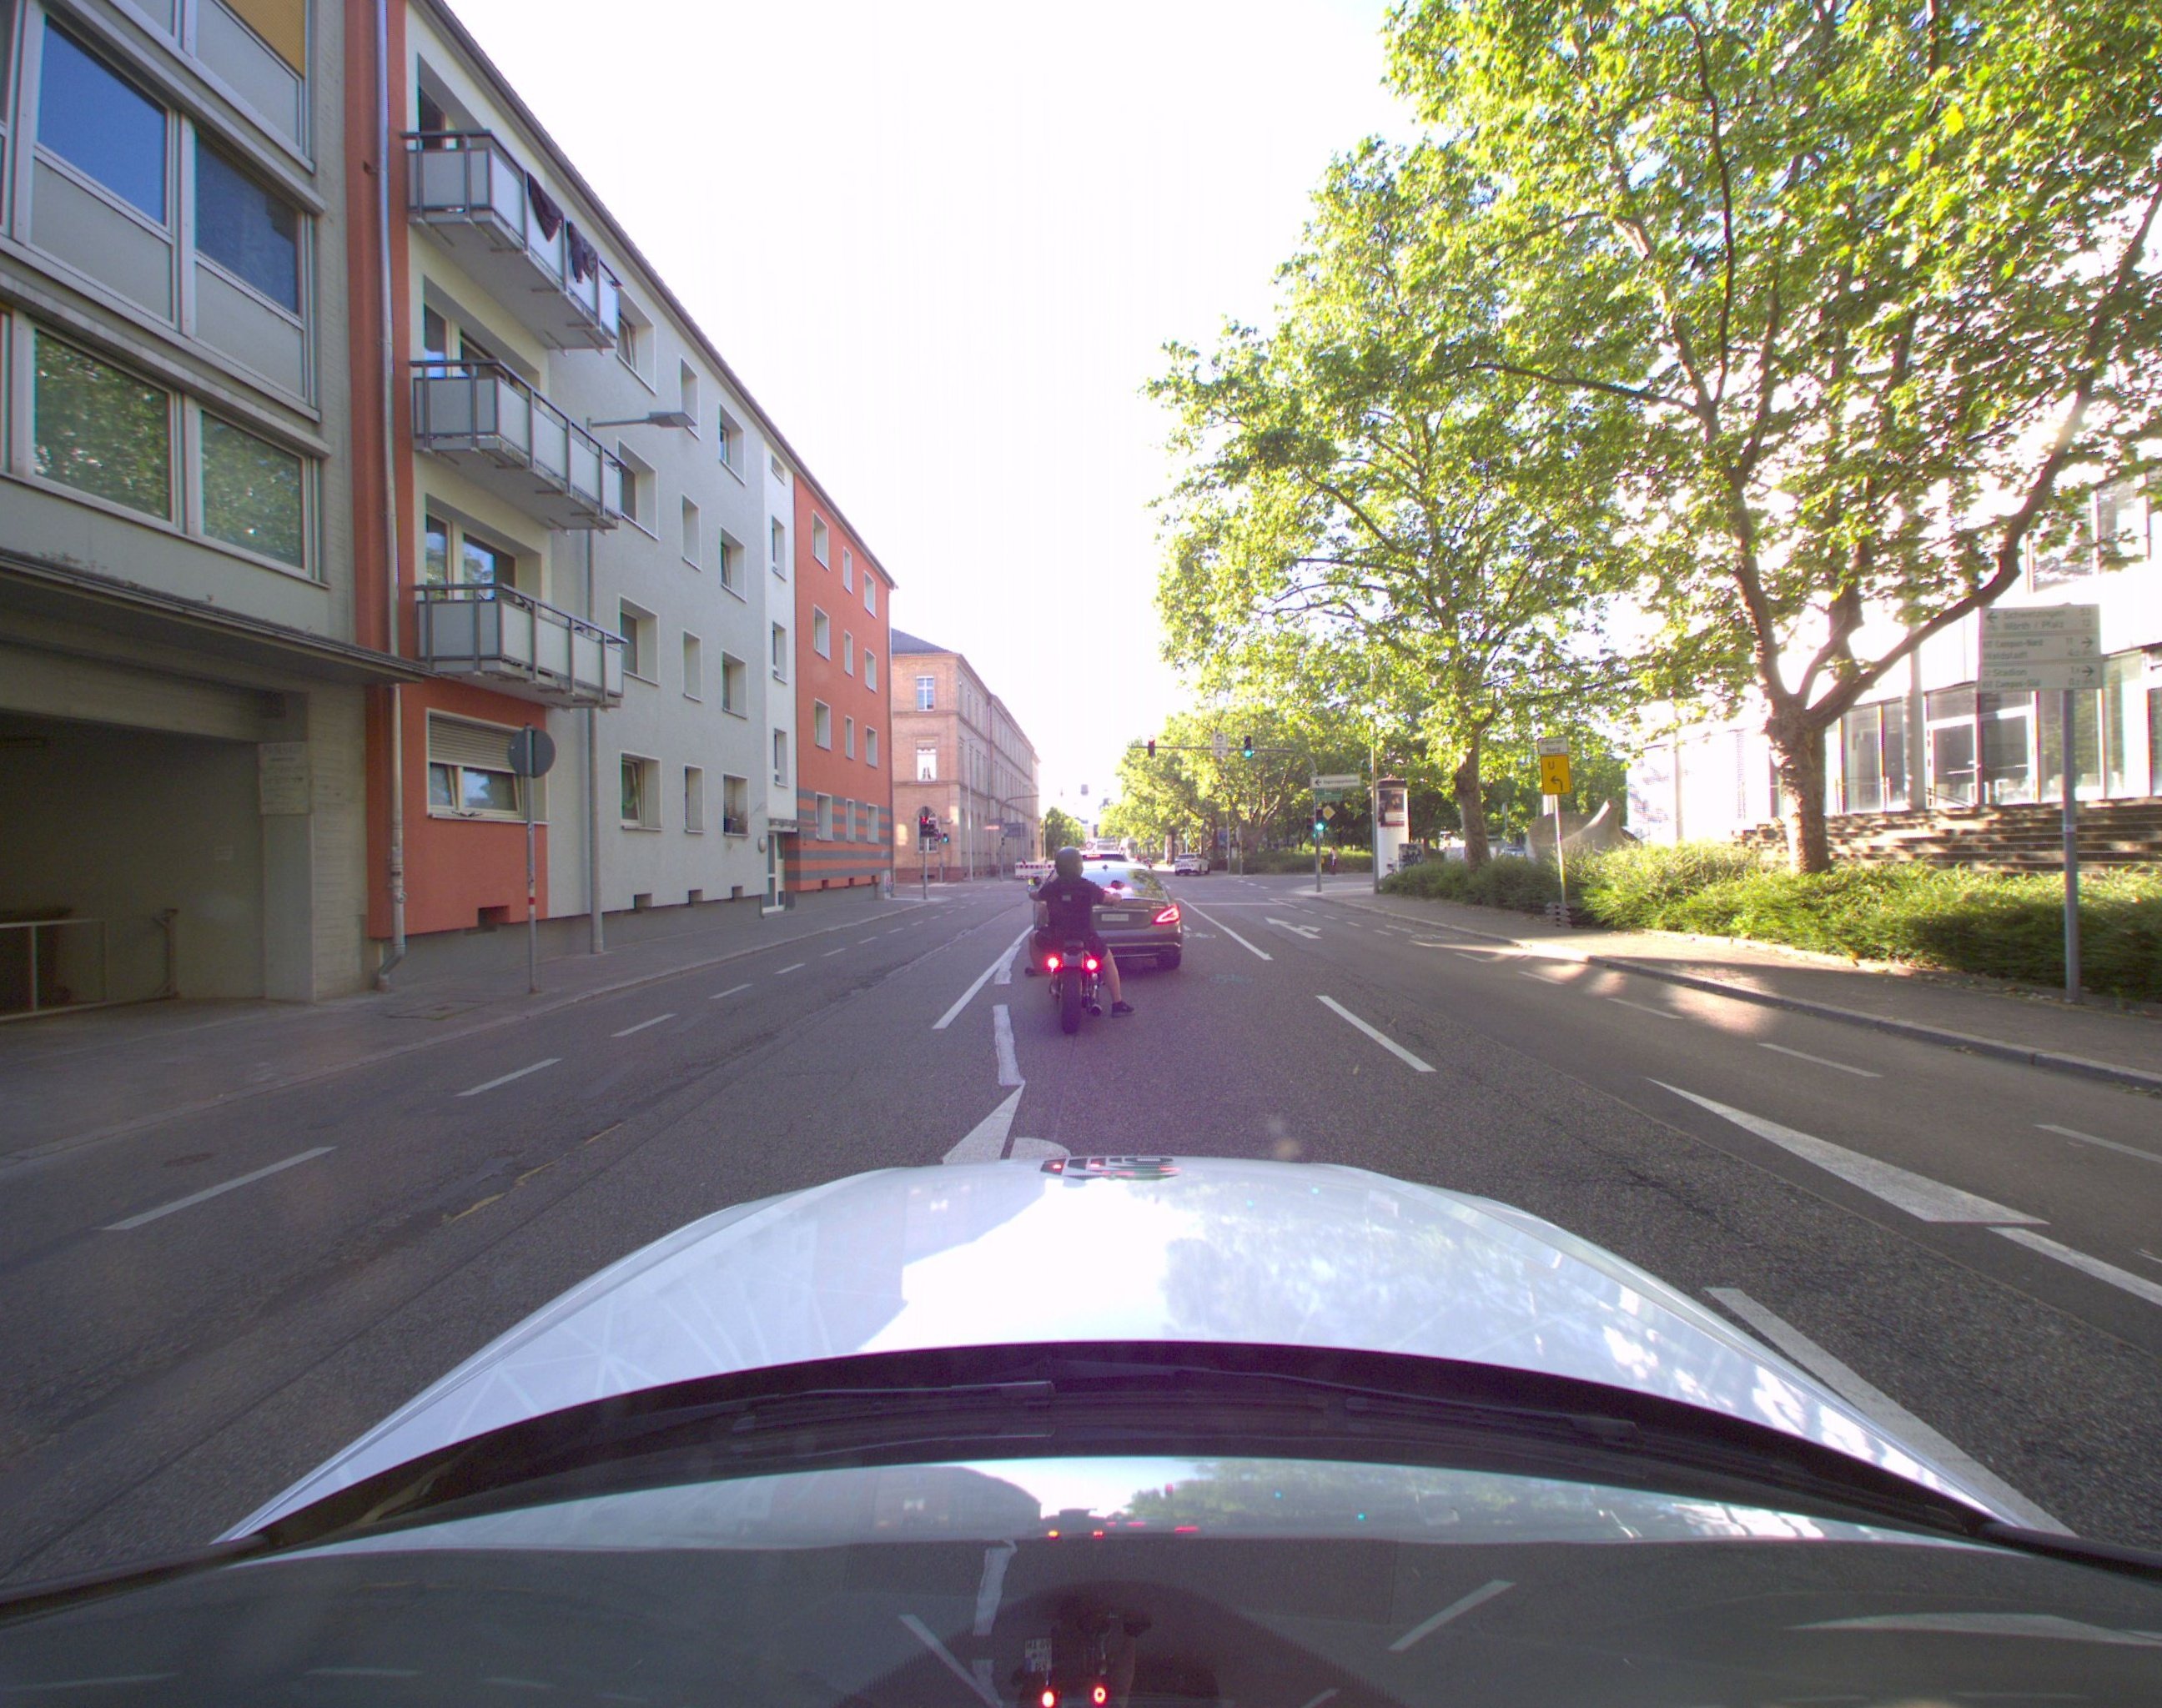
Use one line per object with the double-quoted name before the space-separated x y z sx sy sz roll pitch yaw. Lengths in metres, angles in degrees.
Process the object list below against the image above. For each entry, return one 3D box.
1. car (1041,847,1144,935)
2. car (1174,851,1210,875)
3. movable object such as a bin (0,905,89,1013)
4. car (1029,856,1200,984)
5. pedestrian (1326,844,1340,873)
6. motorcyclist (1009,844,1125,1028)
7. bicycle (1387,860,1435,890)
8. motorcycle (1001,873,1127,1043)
"car" 0.286 0.729 17.689 1.986 1.665 4.001 0 -1 2
"car" 8.413 0.629 61.516 1.927 1.708 4.504 0 0 18
"movable object such as a bin" -11.293 1.099 8.665 0.639 1.065 0.675 -1 0 1
"car" 0.260 0.777 11.762 1.867 1.444 4.421 -1 0 -6
"pedestrian" 15.567 0.293 50.372 0.671 1.772 0.621 -1 -1 31
"motorcyclist" -0.102 0.714 7.687 0.977 1.578 1.249 -1 0 1
"bicycle" 11.076 0.712 27.340 1.475 0.980 0.300 0 -1 7
"motorcycle" -0.096 0.861 7.707 0.977 1.275 2.408 -1 0 2
